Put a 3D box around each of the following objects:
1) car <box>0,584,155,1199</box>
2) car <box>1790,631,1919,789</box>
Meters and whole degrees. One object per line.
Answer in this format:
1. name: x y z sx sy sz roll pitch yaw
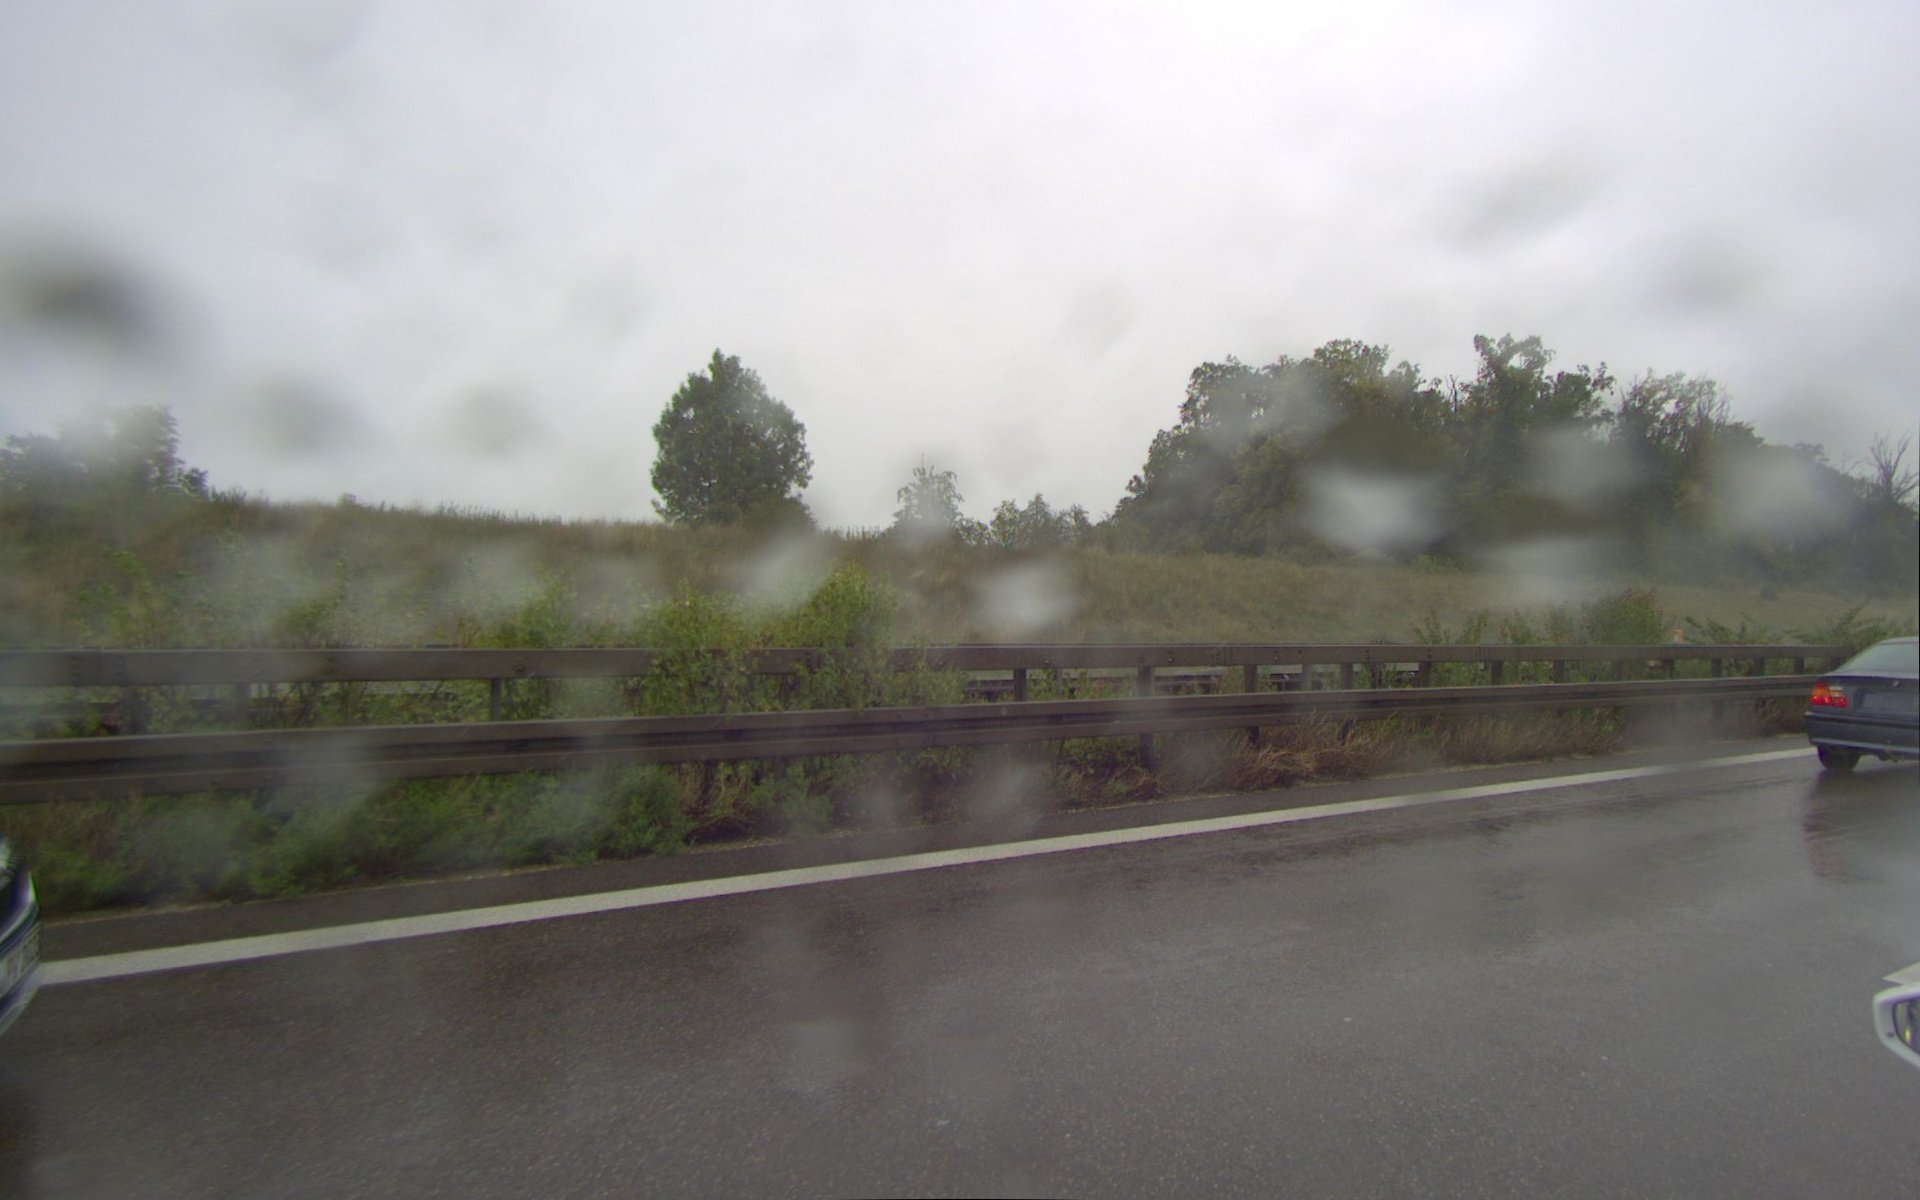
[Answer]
1. car: -4.432 0.667 1.754 4.459 1.496 1.777 1 0 -31
2. car: 10.581 1.078 10.404 4.179 1.418 1.710 2 -1 -30
